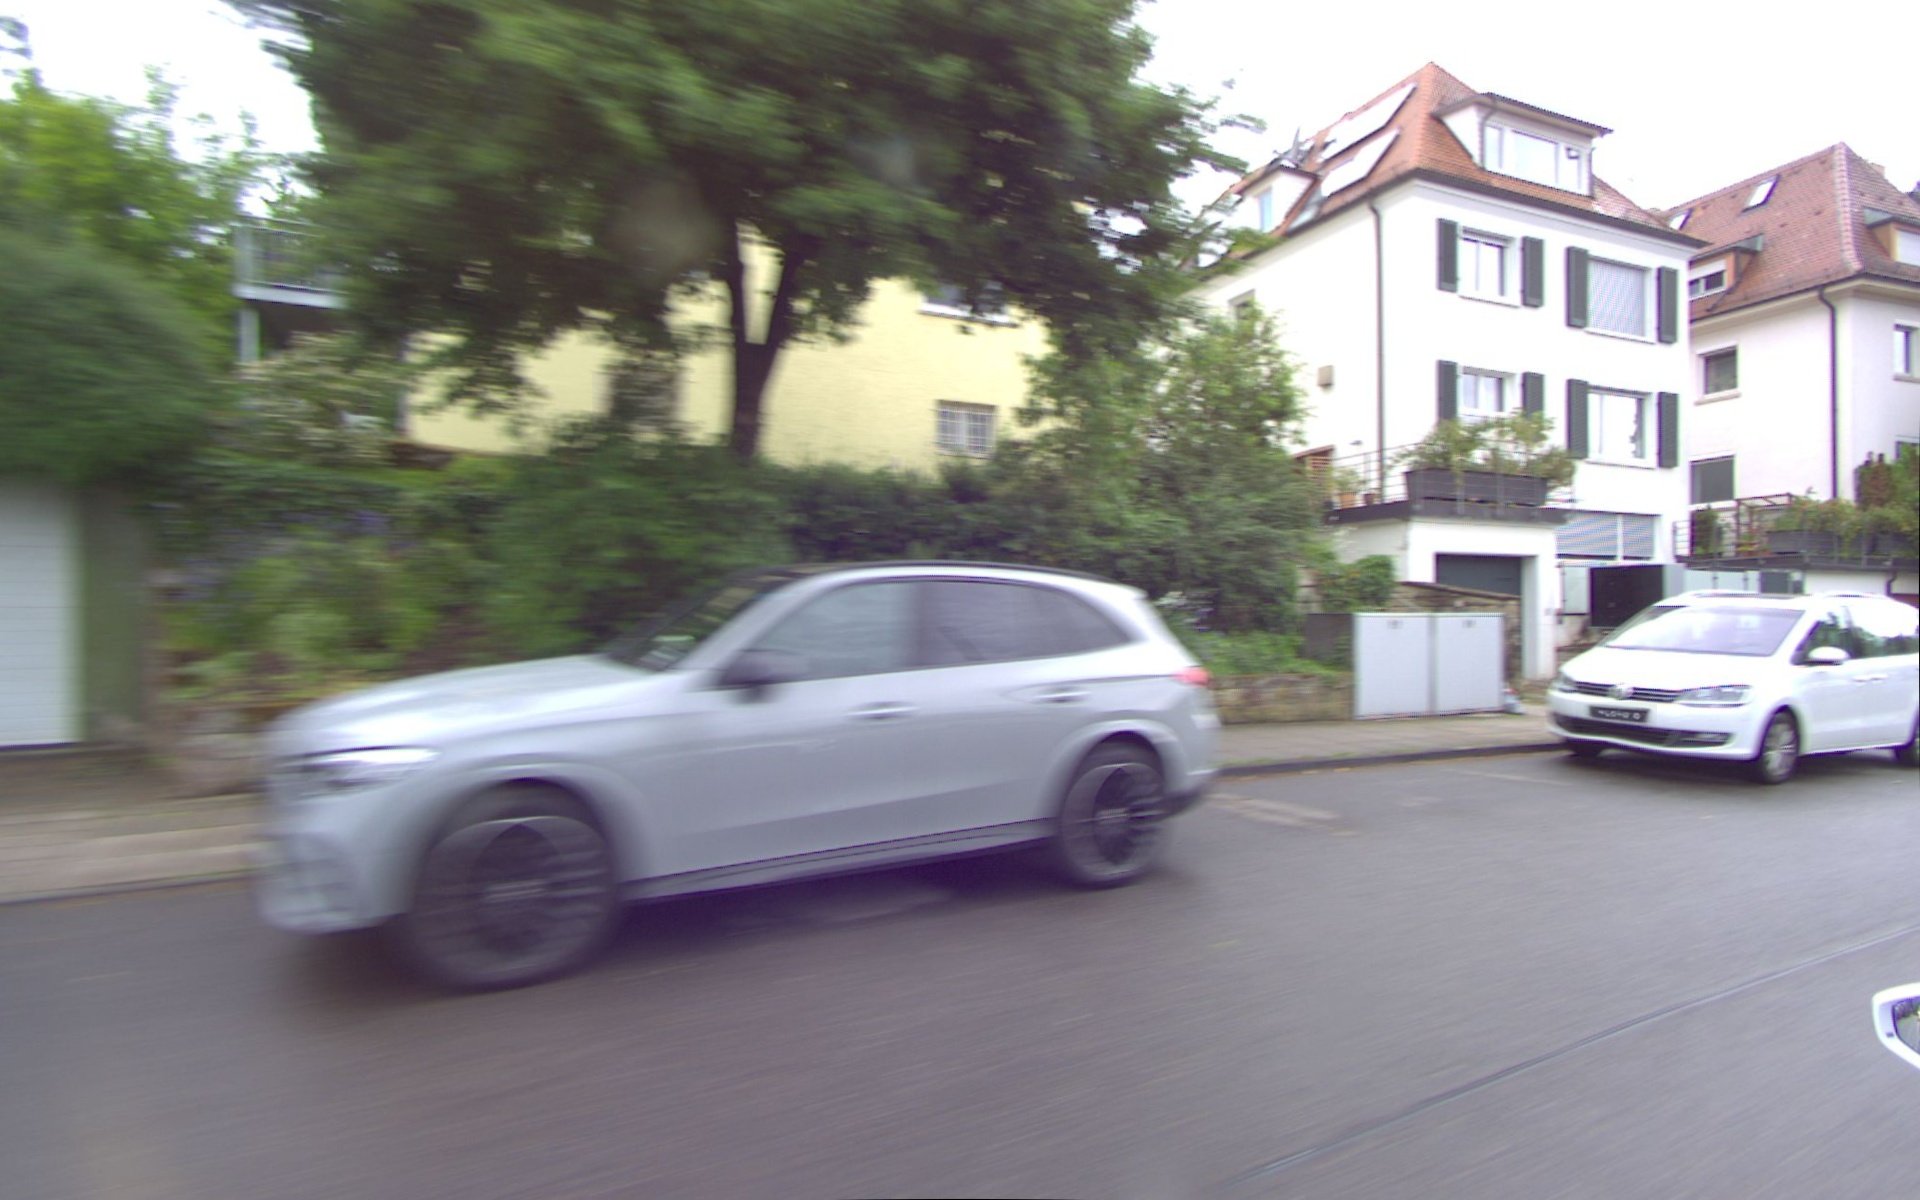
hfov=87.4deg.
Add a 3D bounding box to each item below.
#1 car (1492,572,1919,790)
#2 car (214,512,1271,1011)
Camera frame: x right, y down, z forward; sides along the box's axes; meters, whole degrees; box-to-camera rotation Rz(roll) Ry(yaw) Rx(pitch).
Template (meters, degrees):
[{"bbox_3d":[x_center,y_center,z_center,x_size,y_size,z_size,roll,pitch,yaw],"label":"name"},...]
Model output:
[{"bbox_3d":[7.805,0.653,10.143,4.679,1.725,1.985,0,3,-28],"label":"car"},{"bbox_3d":[-0.822,0.485,5.250,4.705,1.602,1.984,0,3,-30],"label":"car"}]
